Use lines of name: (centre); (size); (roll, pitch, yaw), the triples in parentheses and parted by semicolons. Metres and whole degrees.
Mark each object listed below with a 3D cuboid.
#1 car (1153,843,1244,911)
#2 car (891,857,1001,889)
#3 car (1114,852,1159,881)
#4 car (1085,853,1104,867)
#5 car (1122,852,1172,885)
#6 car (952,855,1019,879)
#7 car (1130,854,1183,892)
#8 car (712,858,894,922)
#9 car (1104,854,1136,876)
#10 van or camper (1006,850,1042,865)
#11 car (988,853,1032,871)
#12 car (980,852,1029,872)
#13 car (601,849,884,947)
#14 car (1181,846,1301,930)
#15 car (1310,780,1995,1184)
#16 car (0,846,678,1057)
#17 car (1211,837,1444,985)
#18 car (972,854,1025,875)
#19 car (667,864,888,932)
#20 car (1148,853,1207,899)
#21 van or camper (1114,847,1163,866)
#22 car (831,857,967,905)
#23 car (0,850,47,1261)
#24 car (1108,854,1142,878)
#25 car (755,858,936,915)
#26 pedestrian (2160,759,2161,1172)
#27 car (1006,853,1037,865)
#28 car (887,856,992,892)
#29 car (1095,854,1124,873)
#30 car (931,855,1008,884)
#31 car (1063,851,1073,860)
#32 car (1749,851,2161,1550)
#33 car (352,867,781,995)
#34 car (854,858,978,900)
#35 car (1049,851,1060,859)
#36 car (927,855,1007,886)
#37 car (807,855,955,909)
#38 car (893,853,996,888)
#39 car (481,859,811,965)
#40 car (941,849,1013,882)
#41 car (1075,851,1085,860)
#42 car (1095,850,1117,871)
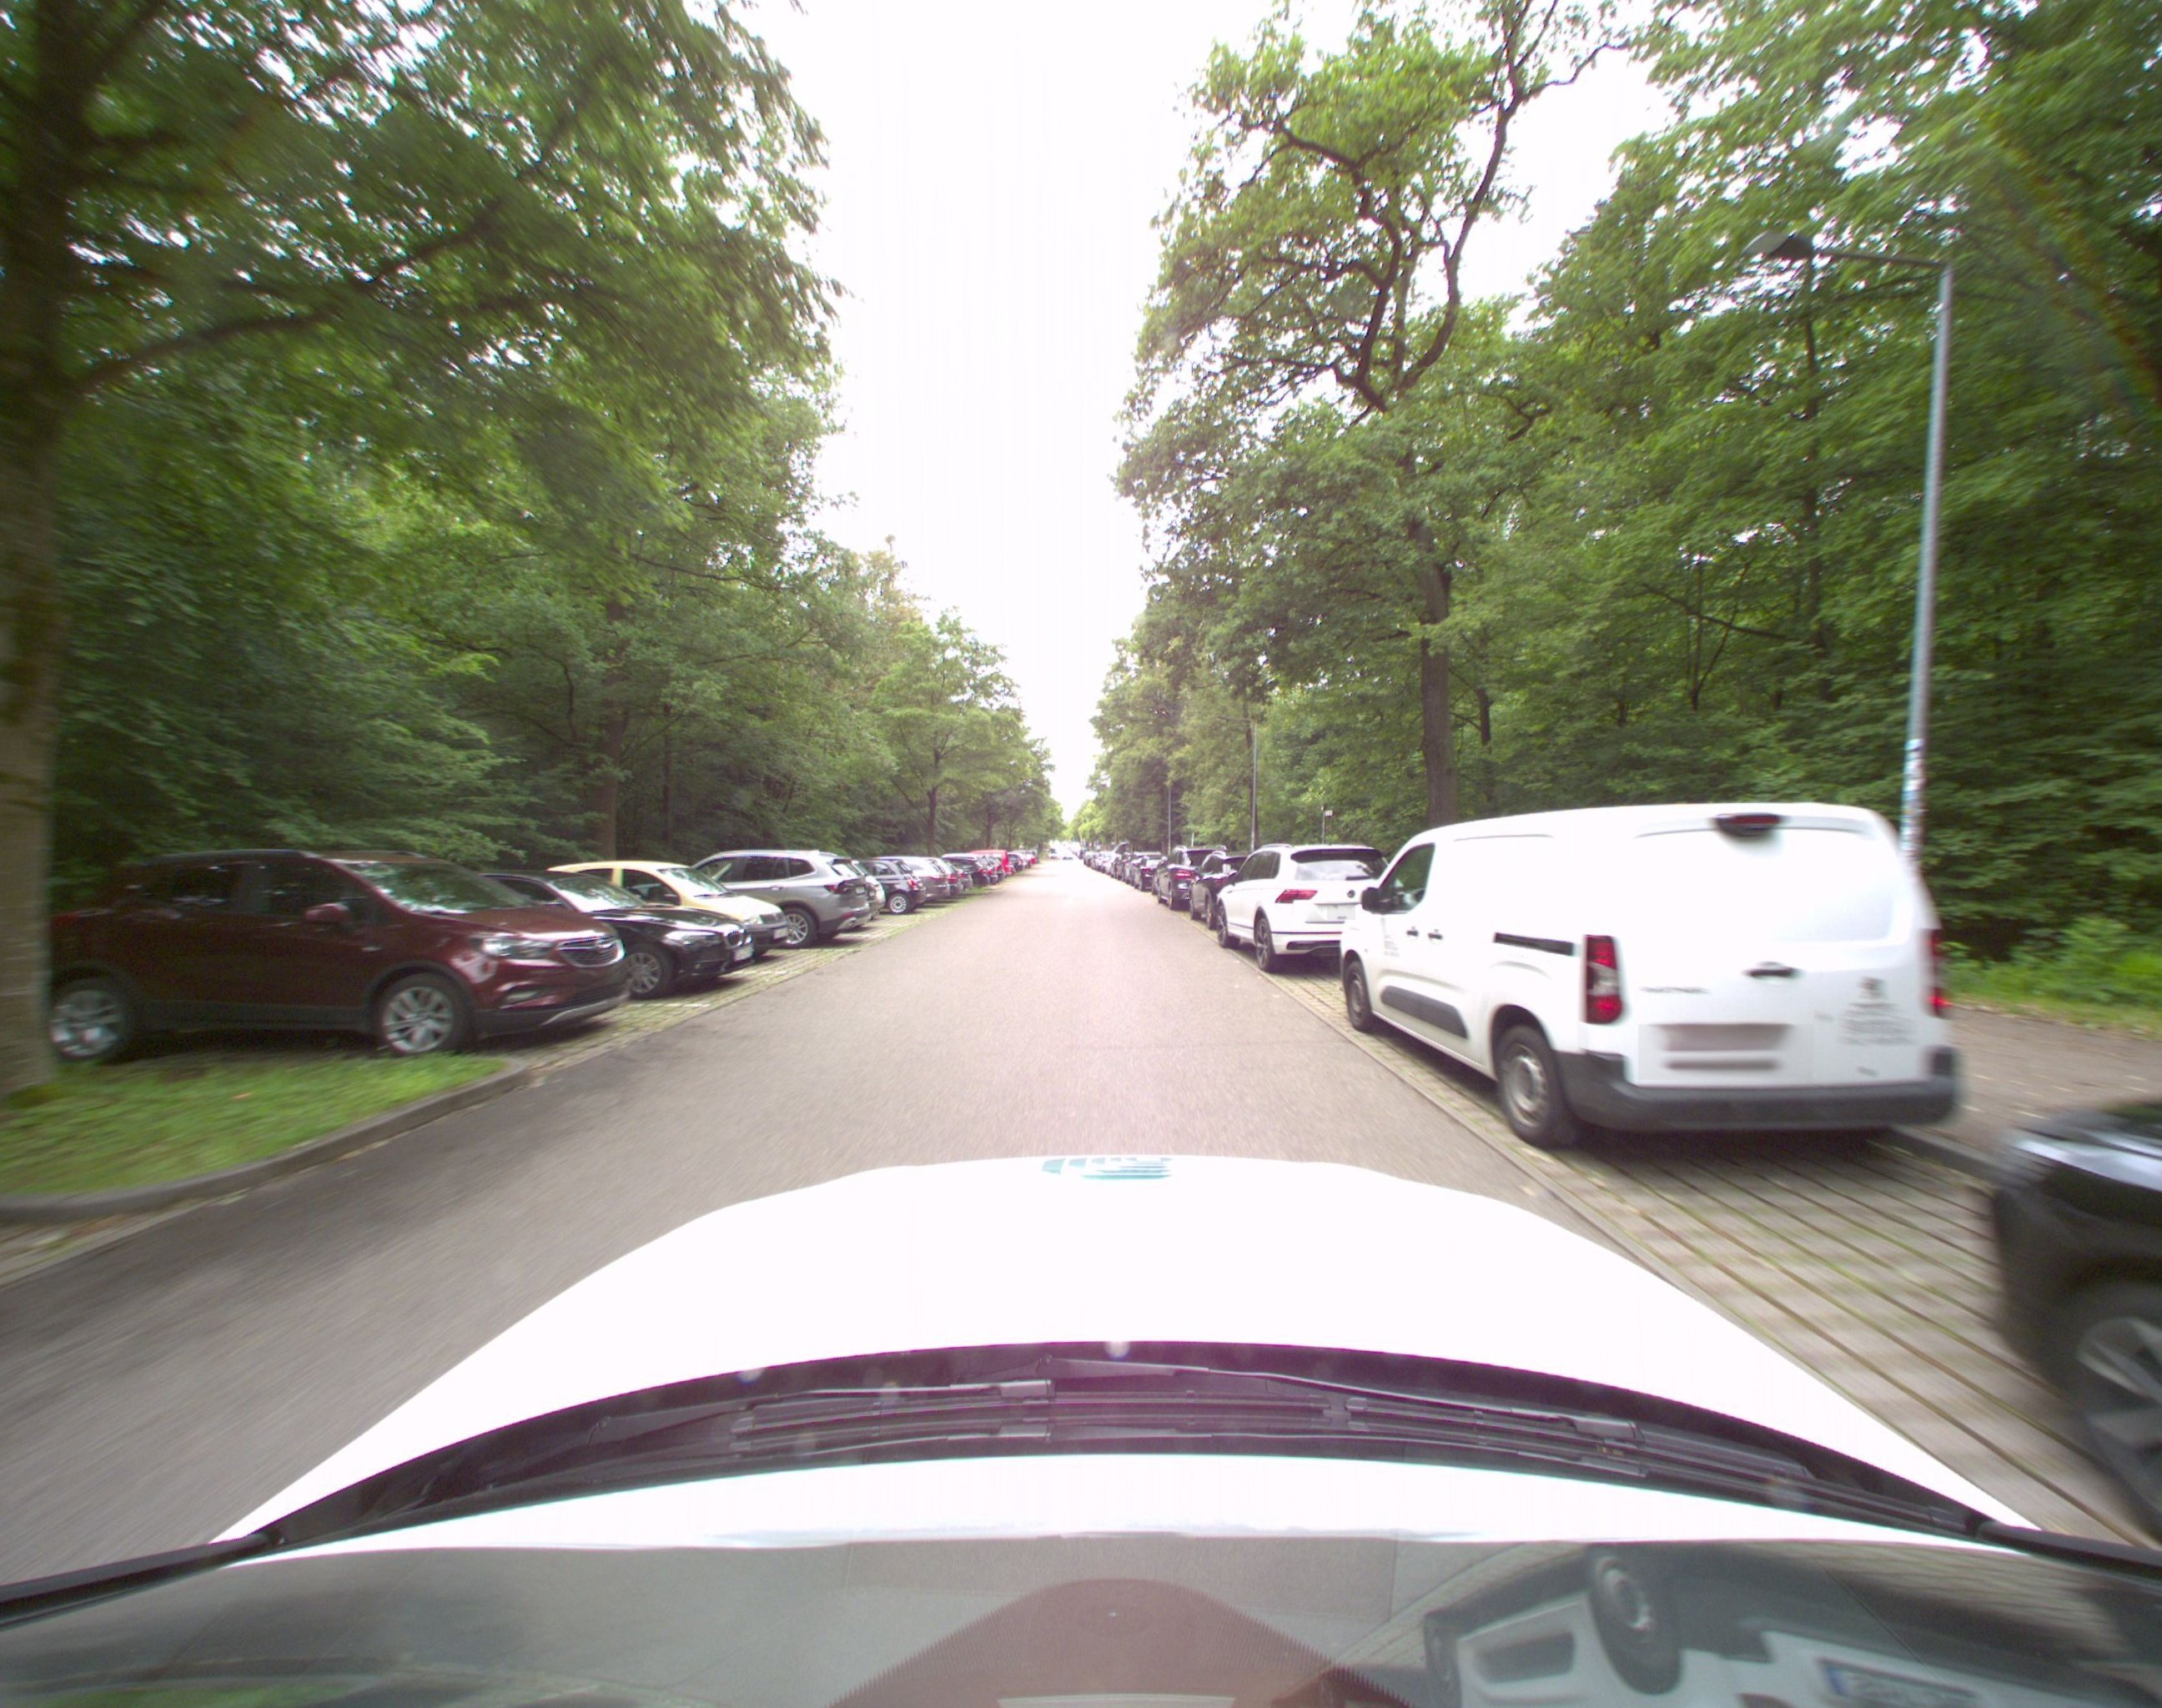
car: (3.269, 0.582, 23.572); (1.884, 1.747, 4.946); (0, 0, -1)
car: (-6.077, 0.854, 37.132); (4.720, 1.343, 1.985); (0, 0, -3)
car: (3.075, 0.667, 45.790); (1.974, 1.537, 4.160); (0, 0, -4)
car: (1.449, 0.665, 88.913); (1.915, 1.520, 3.886); (0, 0, 0)
car: (3.189, 0.650, 40.156); (1.973, 1.537, 4.619); (0, 0, -1)
car: (-6.066, 0.827, 52.134); (3.975, 1.474, 2.114); (0, 0, -1)
car: (3.117, 0.750, 34.302); (1.633, 1.477, 4.147); (0, 0, -3)
car: (-6.644, 0.837, 19.766); (3.855, 1.451, 1.659); (0, 1, -3)
car: (2.754, 0.734, 58.008); (1.932, 1.475, 3.988); (0, 0, -2)
van or camper: (-7.732, 0.418, 110.344); (4.483, 1.868, 1.910); (0, 3, -16)
car: (-6.650, 0.782, 76.822); (3.974, 1.640, 2.009); (0, 0, -1)
car: (-6.505, 0.671, 69.388); (3.975, 1.640, 1.734); (0, 0, -1)
car: (-5.921, 0.740, 14.675); (4.210, 1.633, 2.029); (0, 0, 0)
car: (3.364, 0.652, 17.960); (1.746, 1.607, 4.445); (0, 0, -1)
car: (3.186, 0.555, 5.891); (1.739, 1.780, 4.550); (0, 0, -1)
car: (-6.327, 0.747, 7.228); (4.500, 1.584, 1.927); (0, 0, 0)
car: (3.159, 0.631, 11.539); (1.781, 1.662, 4.714); (0, 0, -2)
car: (-6.285, 0.759, 61.981); (3.821, 1.536, 1.870); (0, 0, -1)
car: (-6.261, 0.891, 17.168); (3.969, 1.310, 1.809); (0, 0, -3)
car: (3.411, 0.737, 29.267); (1.594, 1.504, 4.088); (0, 0, -1)
van or camper: (9.164, 0.409, 129.505); (7.338, 2.888, 2.636); (0, 3, -16)
car: (-5.960, 0.858, 27.110); (4.098, 1.480, 1.995); (0, 0, -2)
car: (-6.096, 0.777, 2.216); (4.022, 1.555, 1.919); (0, 0, -1)
car: (2.723, 0.730, 50.845); (1.663, 1.444, 3.808); (0, 0, -4)
car: (-6.369, 0.860, 22.375); (4.385, 1.488, 1.838); (0, 0, 1)
pedestrian: (4.918, 0.468, 2.908); (0.814, 1.726, 1.004); (0, 0, 1)
car: (-7.294, 0.623, 99.530); (3.581, 1.361, 1.820); (0, 0, -14)
car: (-5.975, 0.824, 34.784); (4.290, 1.449, 1.753); (0, 0, -6)
car: (2.210, 0.717, 63.698); (1.719, 1.494, 3.766); (0, 0, -6)
car: (-6.067, 0.840, 44.739); (3.976, 1.530, 1.999); (0, 0, -2)
car: (-2.236, 0.277, 138.252); (1.686, 1.415, 3.152); (1, 3, -2)
car: (3.024, 0.707, 0.566); (1.719, 1.422, 4.285); (0, 0, 2)
car: (-5.933, 0.857, 9.785); (3.975, 1.364, 1.786); (0, 0, -1)
car: (-5.965, 0.882, 29.808); (4.095, 1.431, 1.964); (-1, 0, 0)
car: (-4.646, 0.114, 141.113); (1.733, 1.161, 3.412); (1, 3, 1)
car: (-5.864, 0.827, 42.299); (3.981, 1.530, 1.996); (0, 0, -6)
car: (-6.009, 0.810, 24.840); (4.080, 1.523, 1.927); (0, 0, -4)
car: (-6.588, 0.779, 39.823); (4.720, 1.595, 1.958); (0, 0, -3)
car: (-6.418, 0.830, 12.338); (4.007, 1.465, 1.800); (0, 0, 2)
car: (-6.002, 0.634, 47.288); (3.979, 1.816, 2.112); (0, 0, -4)
car: (-0.227, 0.215, 143.796); (1.624, 1.415, 3.409); (1, 3, -2)
car: (2.074, 0.569, 69.398); (1.705, 1.728, 3.998); (0, 0, -1)
